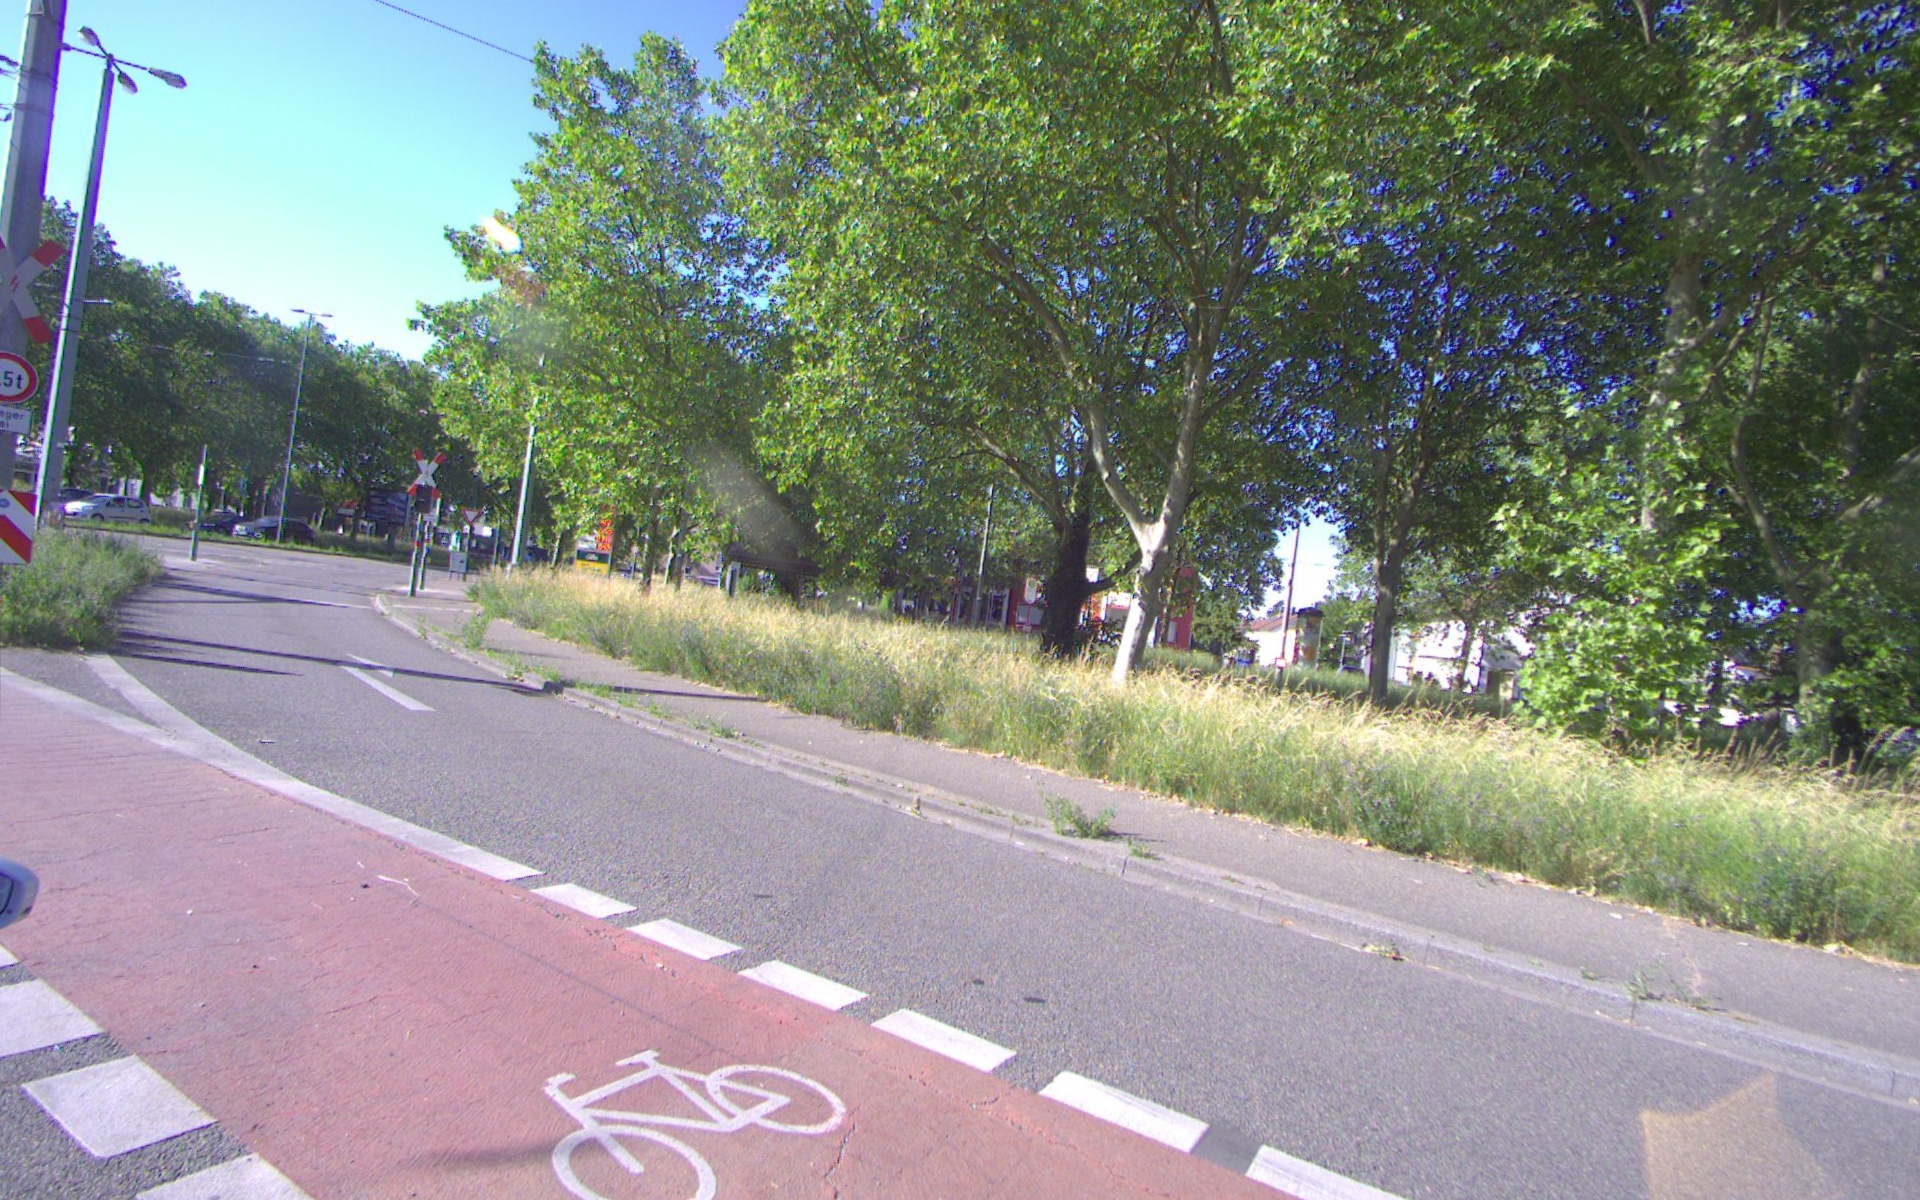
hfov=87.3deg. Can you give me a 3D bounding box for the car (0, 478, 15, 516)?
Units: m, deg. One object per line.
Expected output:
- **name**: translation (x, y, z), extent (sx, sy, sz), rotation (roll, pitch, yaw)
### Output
- **car**: translation (-41.059, -4.465, 40.627), extent (1.575, 1.549, 4.002), rotation (7, 0, 9)

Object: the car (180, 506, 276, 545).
- **car**: translation (-42.584, -4.282, 58.648), extent (1.661, 1.593, 4.528), rotation (7, -1, 9)

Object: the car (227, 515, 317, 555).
- **car**: translation (-36.405, -3.419, 53.386), extent (1.562, 1.563, 3.986), rotation (7, -1, 7)

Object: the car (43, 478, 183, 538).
- **car**: translation (-40.544, -4.353, 48.358), extent (1.962, 2.038, 4.907), rotation (7, -1, 9)
